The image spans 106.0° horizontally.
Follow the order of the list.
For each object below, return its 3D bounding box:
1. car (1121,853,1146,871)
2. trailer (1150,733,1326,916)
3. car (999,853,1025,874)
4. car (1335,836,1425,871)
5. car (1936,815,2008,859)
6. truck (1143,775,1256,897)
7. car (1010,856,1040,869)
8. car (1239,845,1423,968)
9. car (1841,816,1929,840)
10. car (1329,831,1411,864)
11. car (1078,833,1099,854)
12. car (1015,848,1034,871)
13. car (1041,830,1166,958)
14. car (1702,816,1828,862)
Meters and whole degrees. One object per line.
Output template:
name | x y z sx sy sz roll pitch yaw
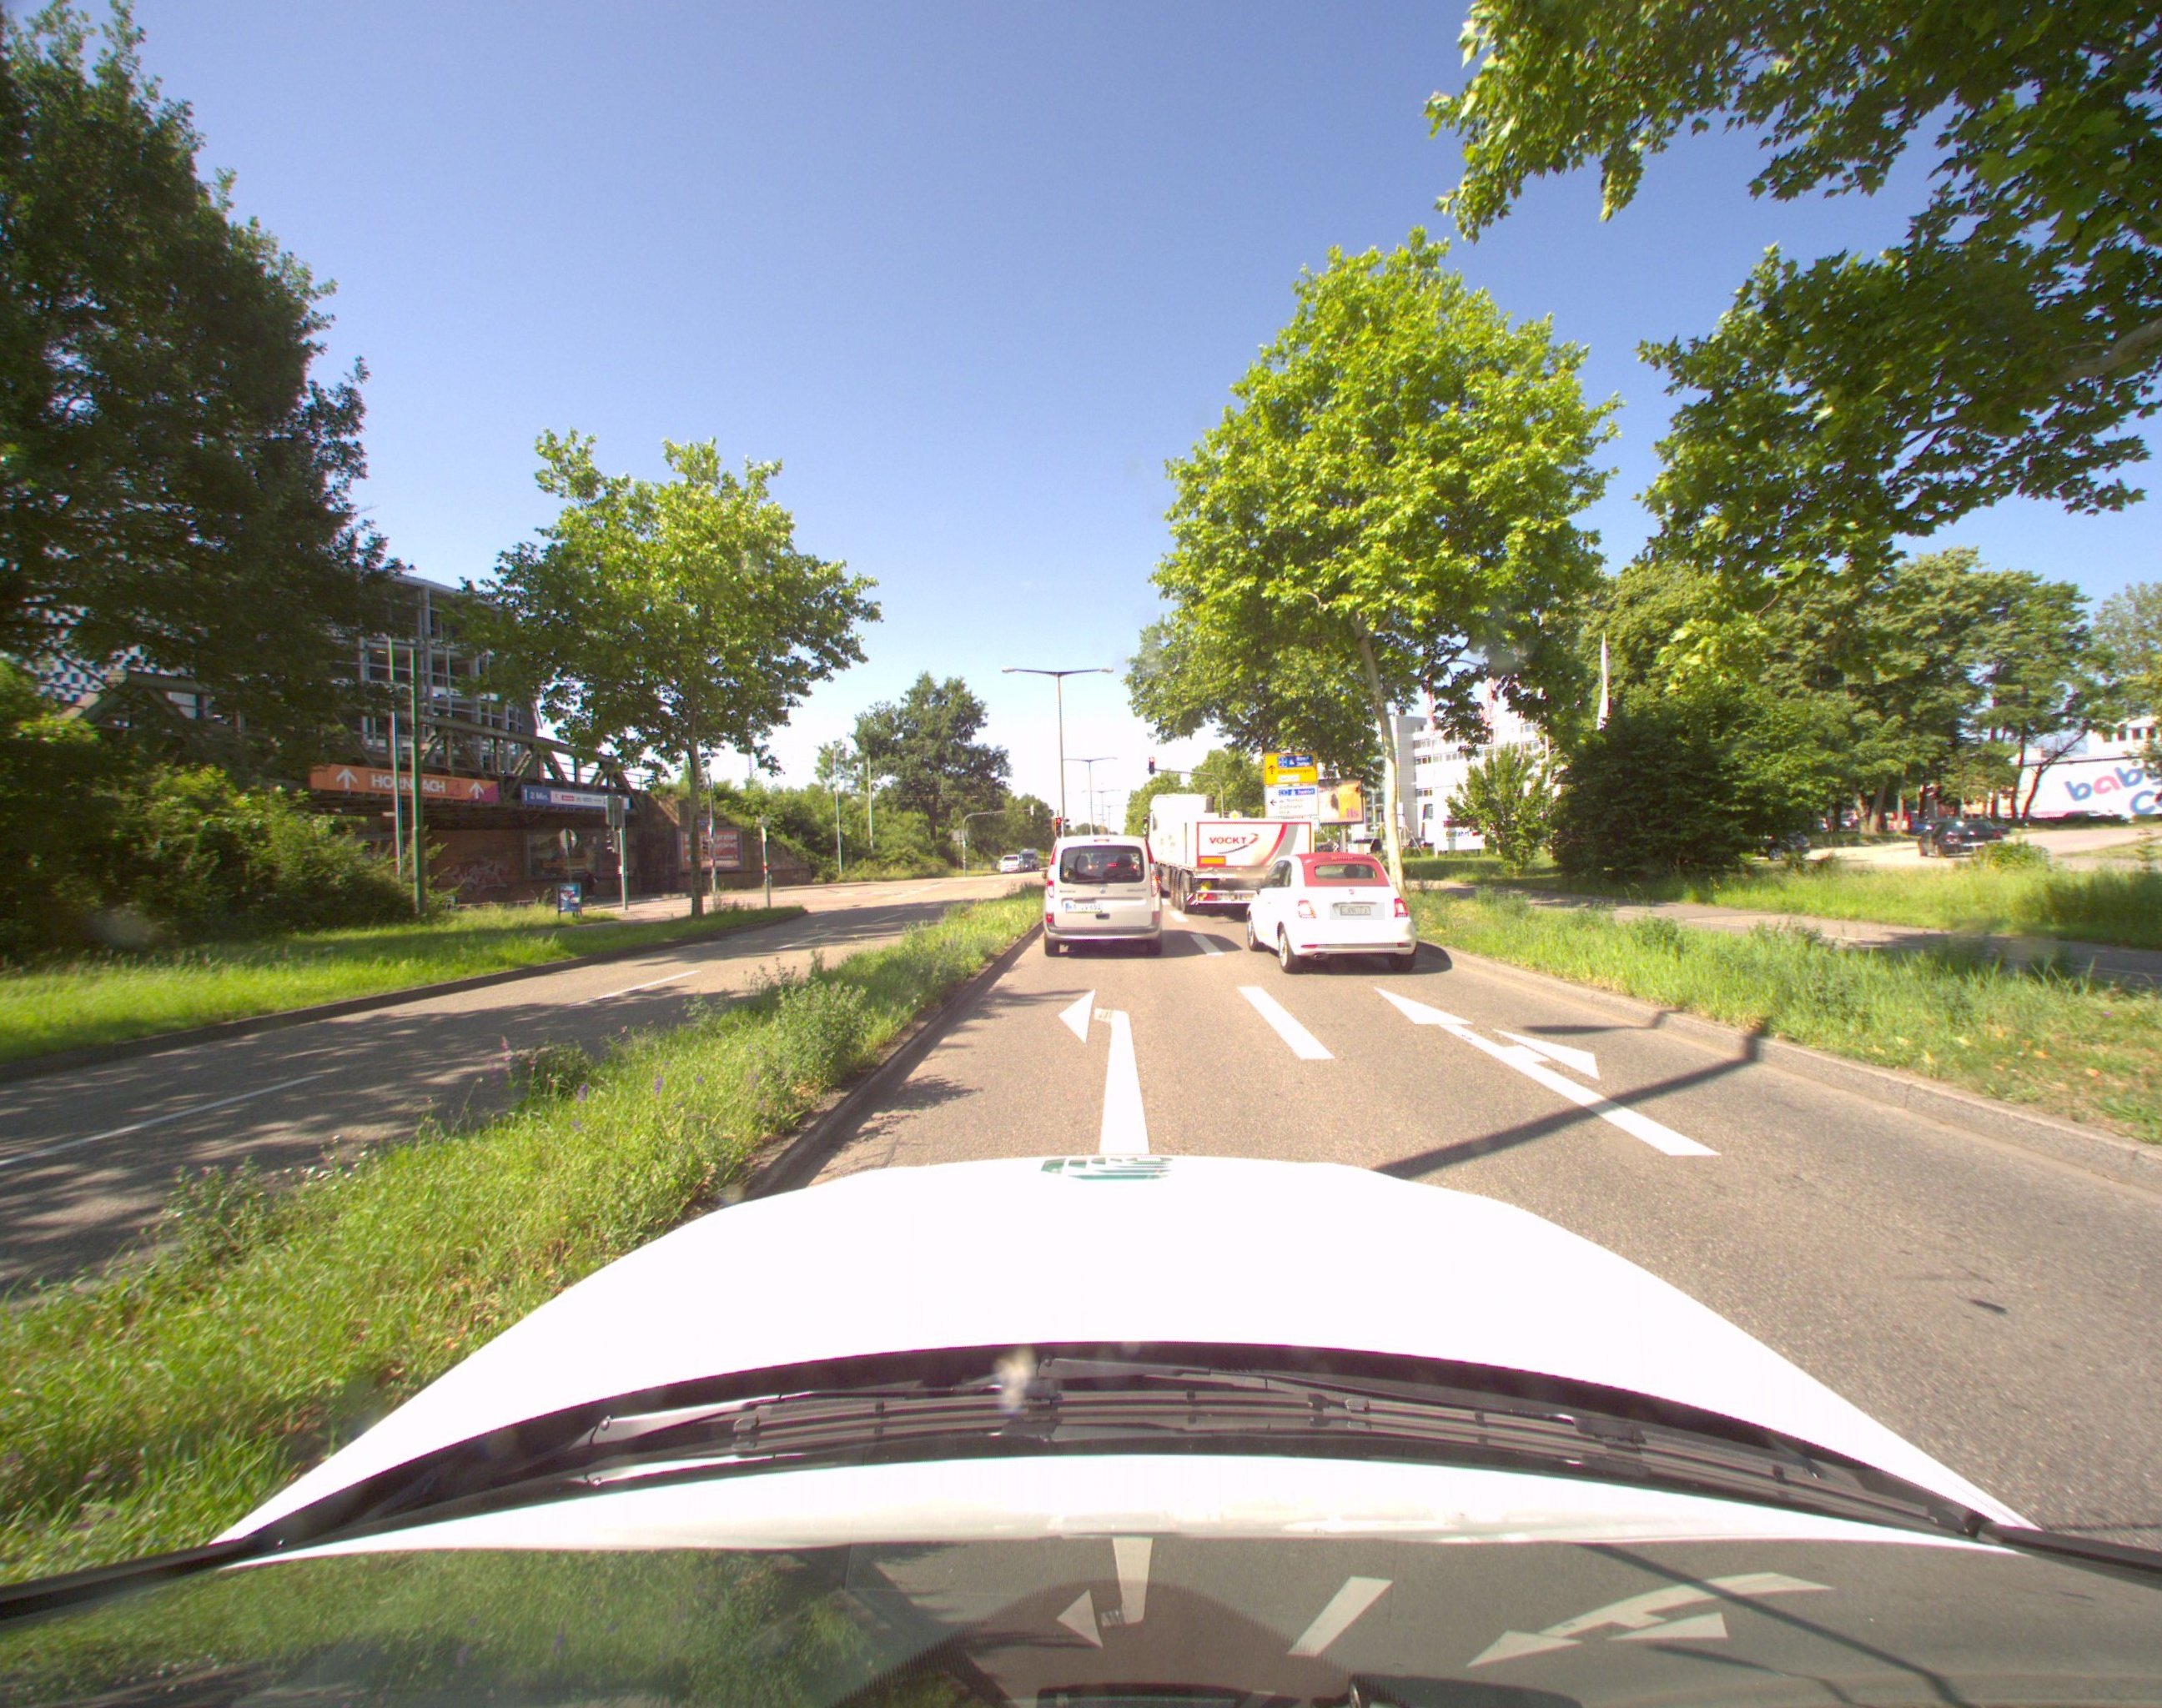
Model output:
car | 5.090 0.747 79.157 1.989 1.640 3.995 -1 0 -4
trailer | 3.773 -0.570 22.987 3.004 3.741 12.246 -1 0 2
car | -6.859 0.901 81.532 1.987 1.891 4.988 -4 -1 1
car | 14.962 -0.009 40.928 3.965 1.662 1.726 -1 -1 7
car | 33.706 -0.611 30.866 3.746 1.515 1.754 0 -1 -43
truck | 3.981 -0.545 29.199 3.061 3.758 7.477 -1 0 1
car | -6.183 0.956 89.469 1.920 1.409 4.192 -1 -1 -25
car | 3.304 0.636 11.405 1.654 1.436 3.523 -1 0 3
car | 55.420 -1.763 56.209 1.727 1.486 3.961 -1 -1 -30
car | 15.793 -0.344 44.681 3.965 1.662 1.726 -1 -1 7
car | 0.732 -0.989 79.148 1.710 2.014 3.995 -1 0 -4
car | -6.729 0.670 97.038 2.055 2.614 5.860 -1 0 -4
car | 0.370 0.582 13.444 1.743 1.772 3.950 -1 0 1
car | 27.478 -0.575 32.766 1.778 1.716 3.703 0 -1 -45
